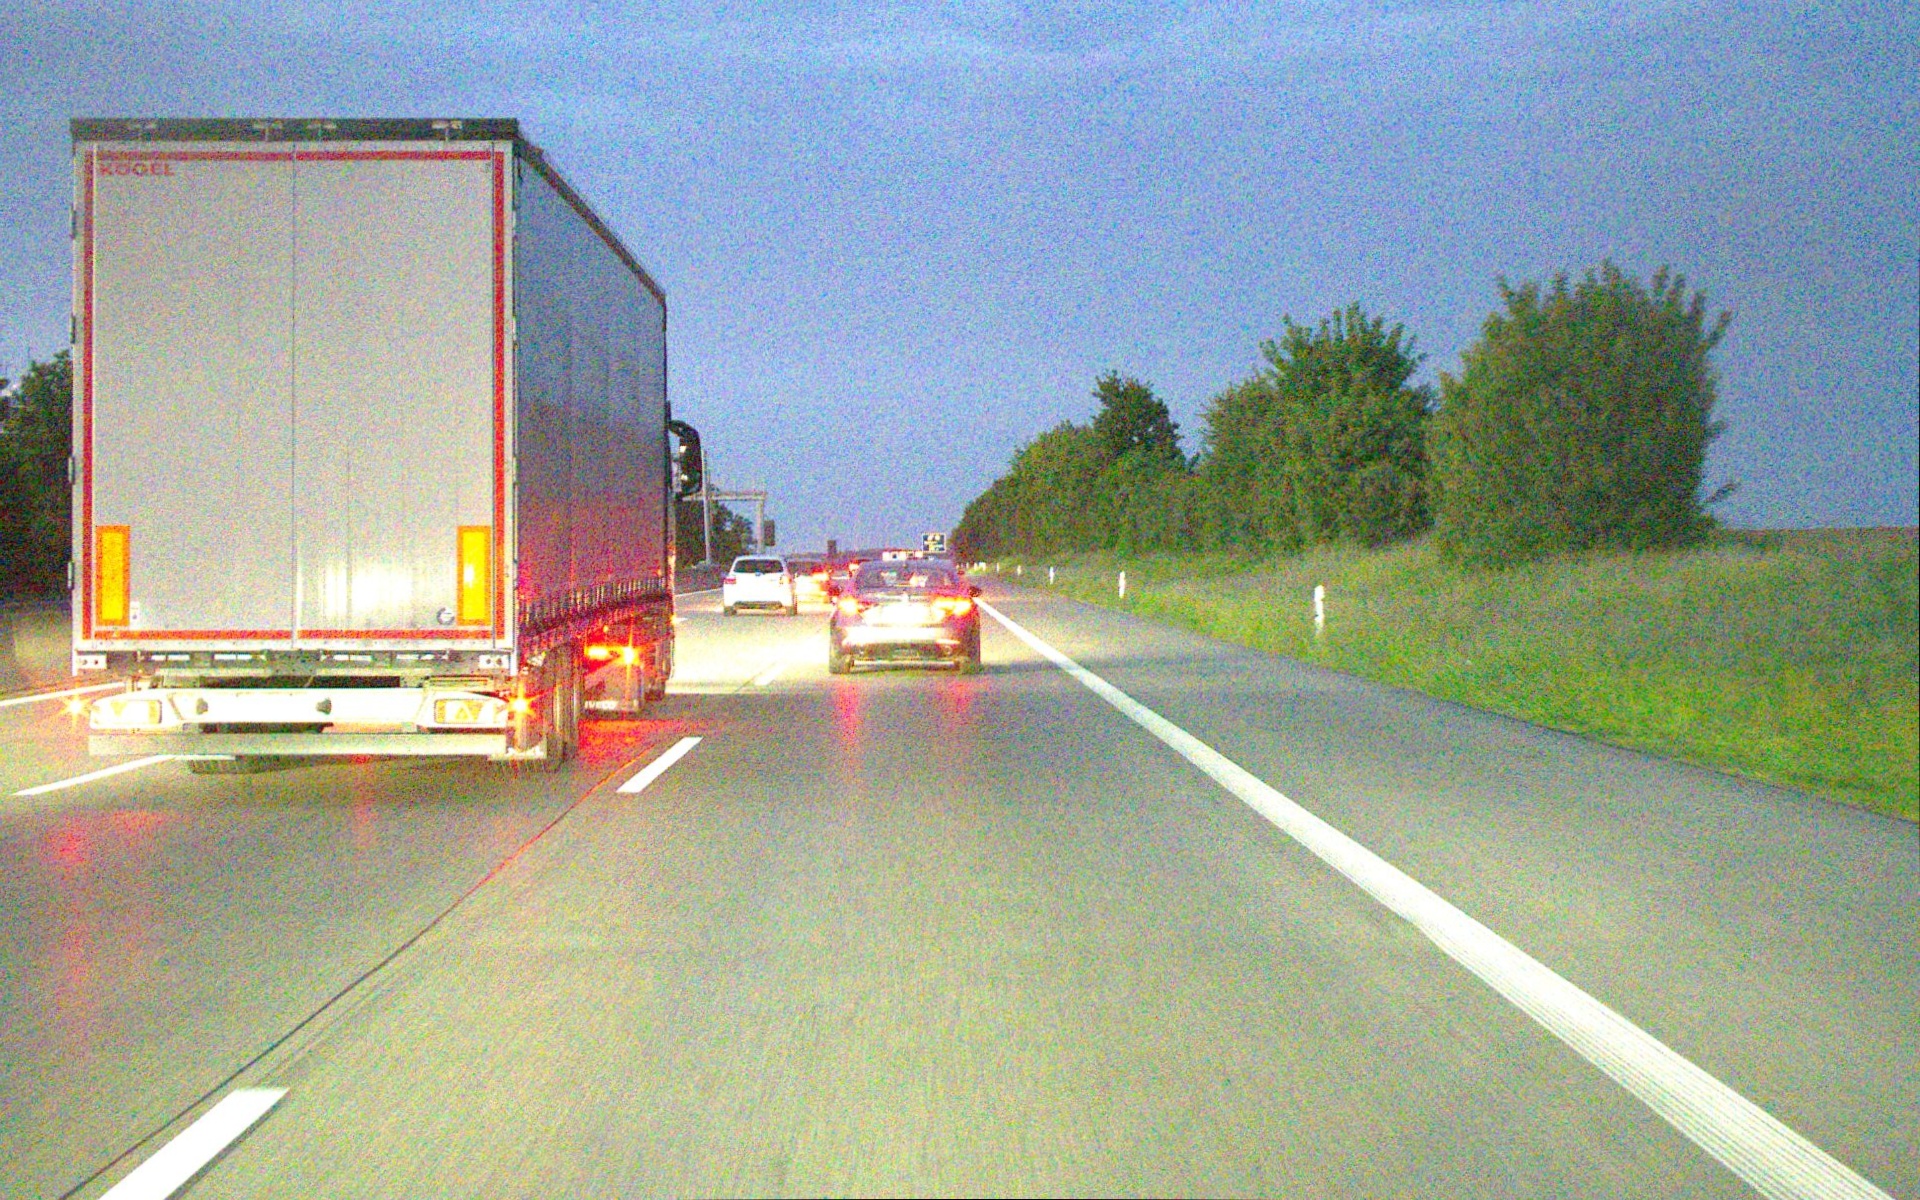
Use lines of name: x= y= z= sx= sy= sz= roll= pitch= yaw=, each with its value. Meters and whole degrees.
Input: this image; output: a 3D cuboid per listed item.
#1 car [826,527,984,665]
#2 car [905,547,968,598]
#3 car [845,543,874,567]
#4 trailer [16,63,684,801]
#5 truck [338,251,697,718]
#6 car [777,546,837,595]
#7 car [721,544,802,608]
car: x=-0.683 y=-0.063 z=43.338 sx=1.880 sy=1.637 sz=4.000 roll=1 pitch=0 yaw=-1
car: x=-0.759 y=-0.860 z=107.509 sx=1.880 sy=1.547 sz=4.000 roll=1 pitch=0 yaw=-1
car: x=-6.669 y=-2.986 z=229.122 sx=1.880 sy=1.547 sz=4.000 roll=1 pitch=0 yaw=-1
trailer: x=-3.959 y=-0.990 z=26.300 sx=2.794 sy=4.071 sz=14.526 roll=0 pitch=0 yaw=-1
truck: x=-4.105 y=-1.035 z=33.142 sx=2.777 sy=4.079 sz=6.103 roll=0 pitch=0 yaw=-1
car: x=-4.767 y=-0.912 z=107.543 sx=1.722 sy=1.466 sz=4.726 roll=1 pitch=0 yaw=-1
car: x=-4.925 y=-0.604 z=85.813 sx=1.744 sy=1.519 sz=4.414 roll=1 pitch=0 yaw=0
